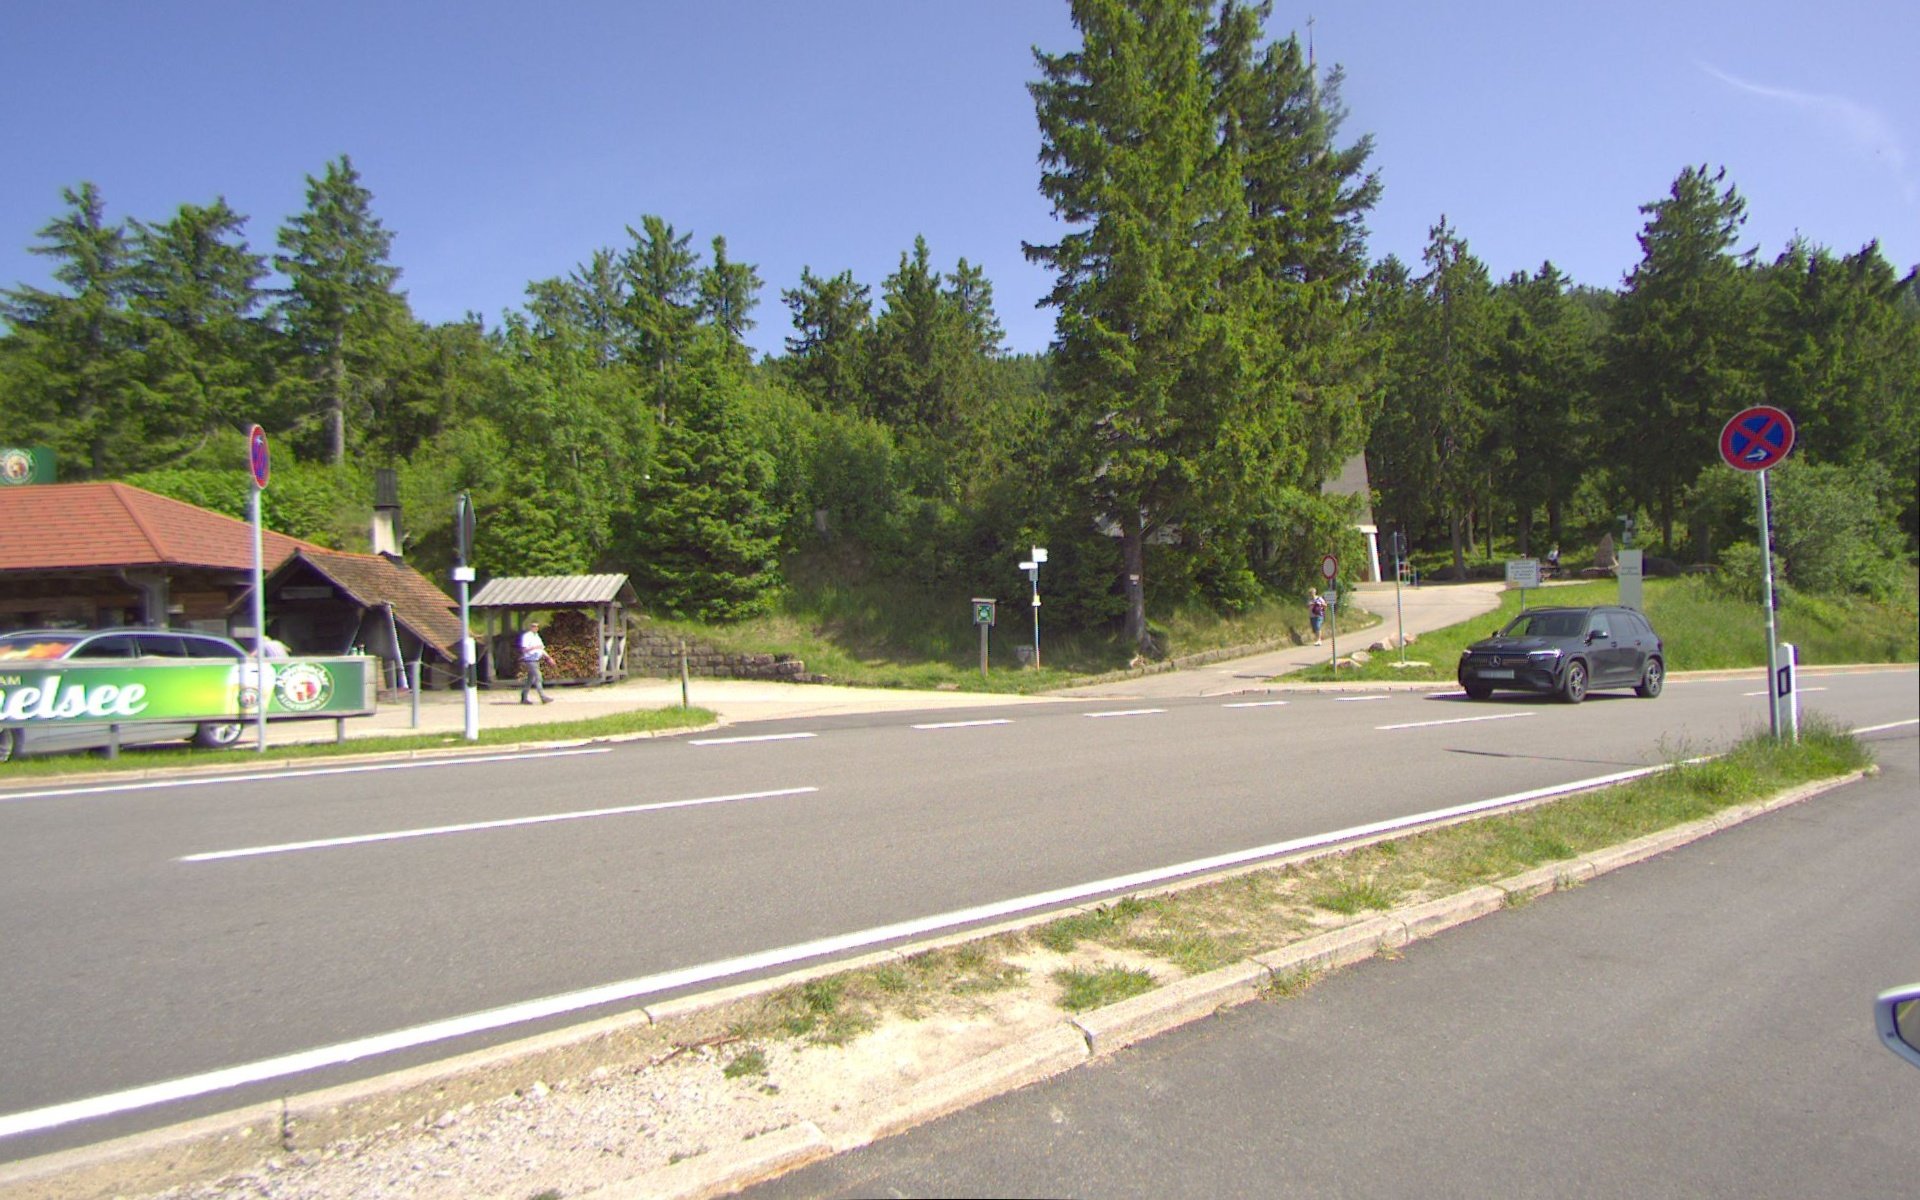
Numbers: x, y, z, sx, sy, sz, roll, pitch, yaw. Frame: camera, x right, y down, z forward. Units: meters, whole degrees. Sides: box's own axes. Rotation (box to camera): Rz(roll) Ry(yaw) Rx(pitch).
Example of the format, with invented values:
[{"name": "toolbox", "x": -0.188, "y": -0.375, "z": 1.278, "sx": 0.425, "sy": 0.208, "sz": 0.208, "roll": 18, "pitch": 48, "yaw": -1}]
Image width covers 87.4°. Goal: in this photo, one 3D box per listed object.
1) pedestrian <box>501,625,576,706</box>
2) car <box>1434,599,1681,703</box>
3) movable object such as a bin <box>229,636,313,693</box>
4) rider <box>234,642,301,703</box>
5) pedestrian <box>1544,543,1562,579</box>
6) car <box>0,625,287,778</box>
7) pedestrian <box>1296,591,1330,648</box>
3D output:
[{"name": "pedestrian", "x": -9.154, "y": 1.406, "z": 21.848, "sx": 1.139, "sy": 1.720, "sz": 0.980, "roll": -1, "pitch": -2, "yaw": 11}, {"name": "car", "x": 10.849, "y": 0.879, "z": 18.171, "sx": 4.516, "sy": 1.669, "sz": 1.983, "roll": 1, "pitch": -2, "yaw": -32}, {"name": "movable object such as a bin", "x": -15.248, "y": 1.416, "z": 22.245, "sx": 1.192, "sy": 1.204, "sz": 0.984, "roll": -1, "pitch": -2, "yaw": 14}, {"name": "rider", "x": -15.313, "y": 1.590, "z": 22.231, "sx": 0.891, "sy": 1.291, "sz": 0.840, "roll": -1, "pitch": -2, "yaw": 14}, {"name": "pedestrian", "x": 32.471, "y": -2.118, "z": 55.040, "sx": 0.531, "sy": 1.902, "sz": 0.683, "roll": -1, "pitch": -2, "yaw": 0}, {"name": "car", "x": -9.839, "y": 1.033, "z": 10.965, "sx": 1.687, "sy": 1.449, "sz": 4.506, "roll": -1, "pitch": -2, "yaw": 5}, {"name": "pedestrian", "x": 10.770, "y": 0.606, "z": 30.647, "sx": 0.678, "sy": 1.703, "sz": 0.712, "roll": 1, "pitch": -2, "yaw": -45}]
